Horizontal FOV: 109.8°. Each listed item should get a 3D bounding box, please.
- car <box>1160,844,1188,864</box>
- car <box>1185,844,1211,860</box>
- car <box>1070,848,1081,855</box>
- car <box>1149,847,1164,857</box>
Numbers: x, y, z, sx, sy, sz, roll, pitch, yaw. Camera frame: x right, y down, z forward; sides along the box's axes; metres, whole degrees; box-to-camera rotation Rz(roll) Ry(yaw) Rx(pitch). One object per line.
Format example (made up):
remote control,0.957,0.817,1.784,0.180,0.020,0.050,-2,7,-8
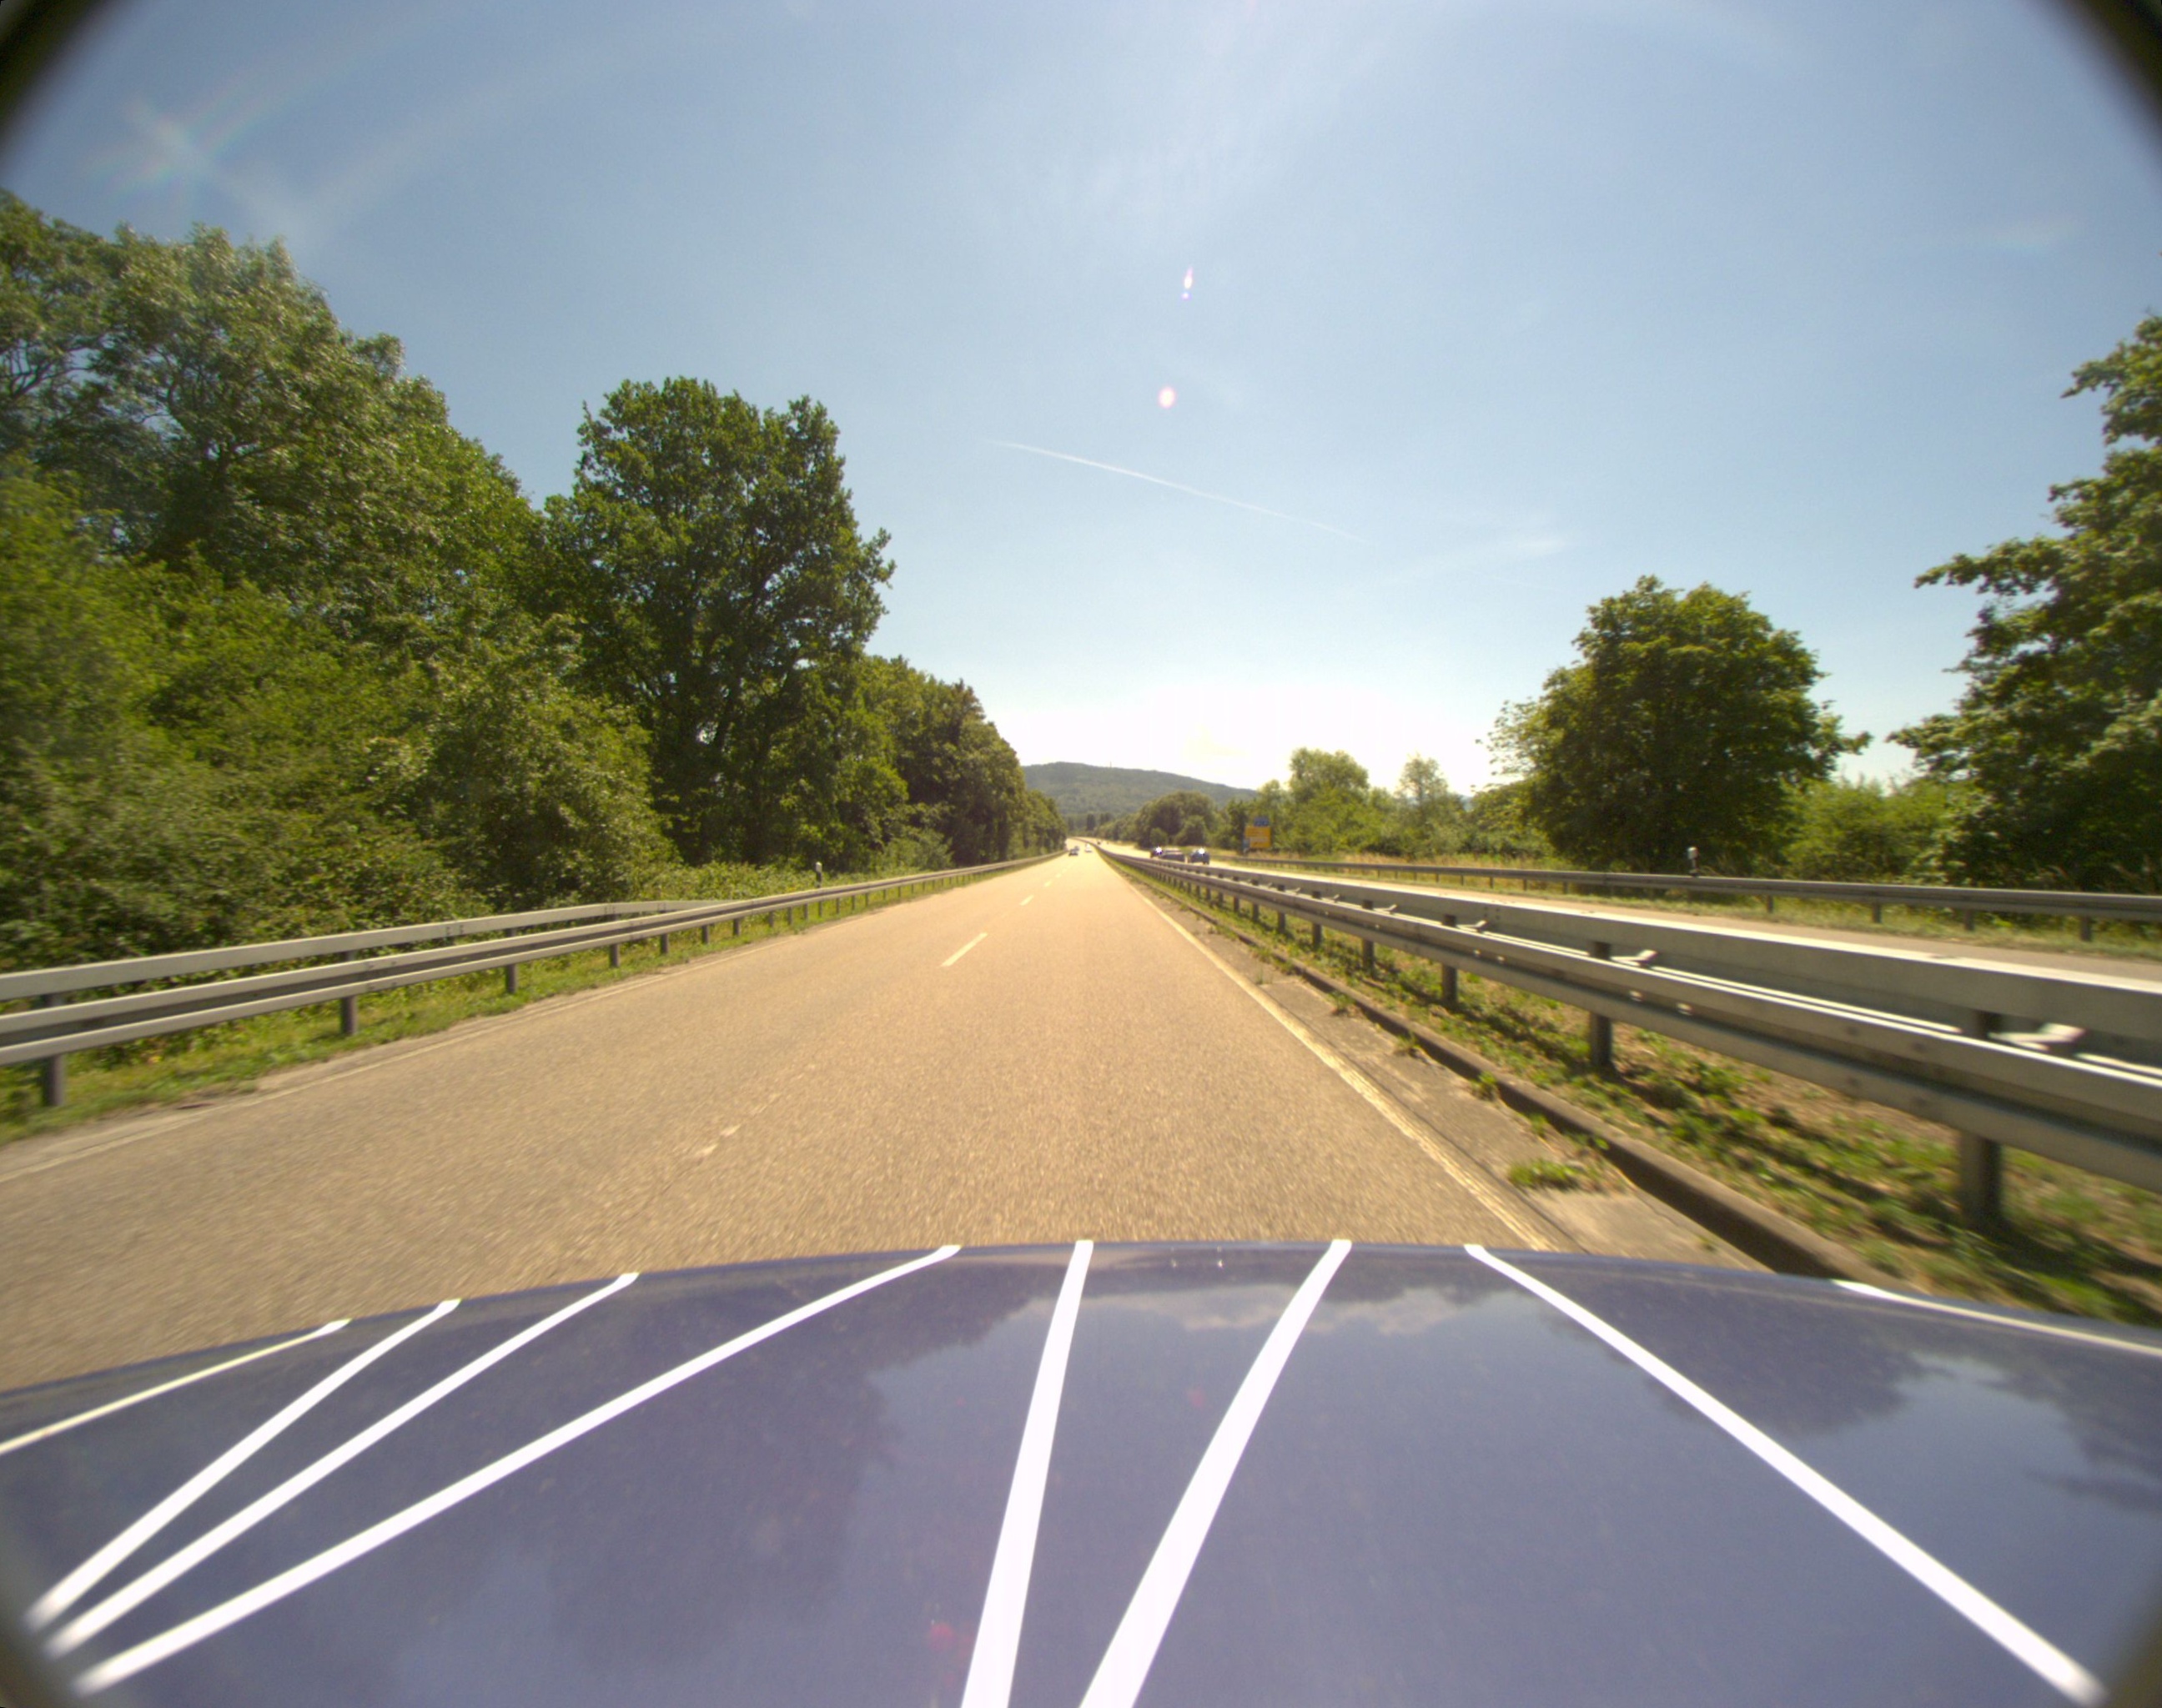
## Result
car,7.627,-0.021,62.678,1.998,1.622,4.553,0,1,3
car,11.318,-0.226,73.908,1.817,1.534,4.927,0,1,0
car,-1.077,-0.502,153.267,1.908,1.368,3.890,-2,2,3
car,11.775,-0.317,118.656,1.784,1.611,4.504,0,1,0
